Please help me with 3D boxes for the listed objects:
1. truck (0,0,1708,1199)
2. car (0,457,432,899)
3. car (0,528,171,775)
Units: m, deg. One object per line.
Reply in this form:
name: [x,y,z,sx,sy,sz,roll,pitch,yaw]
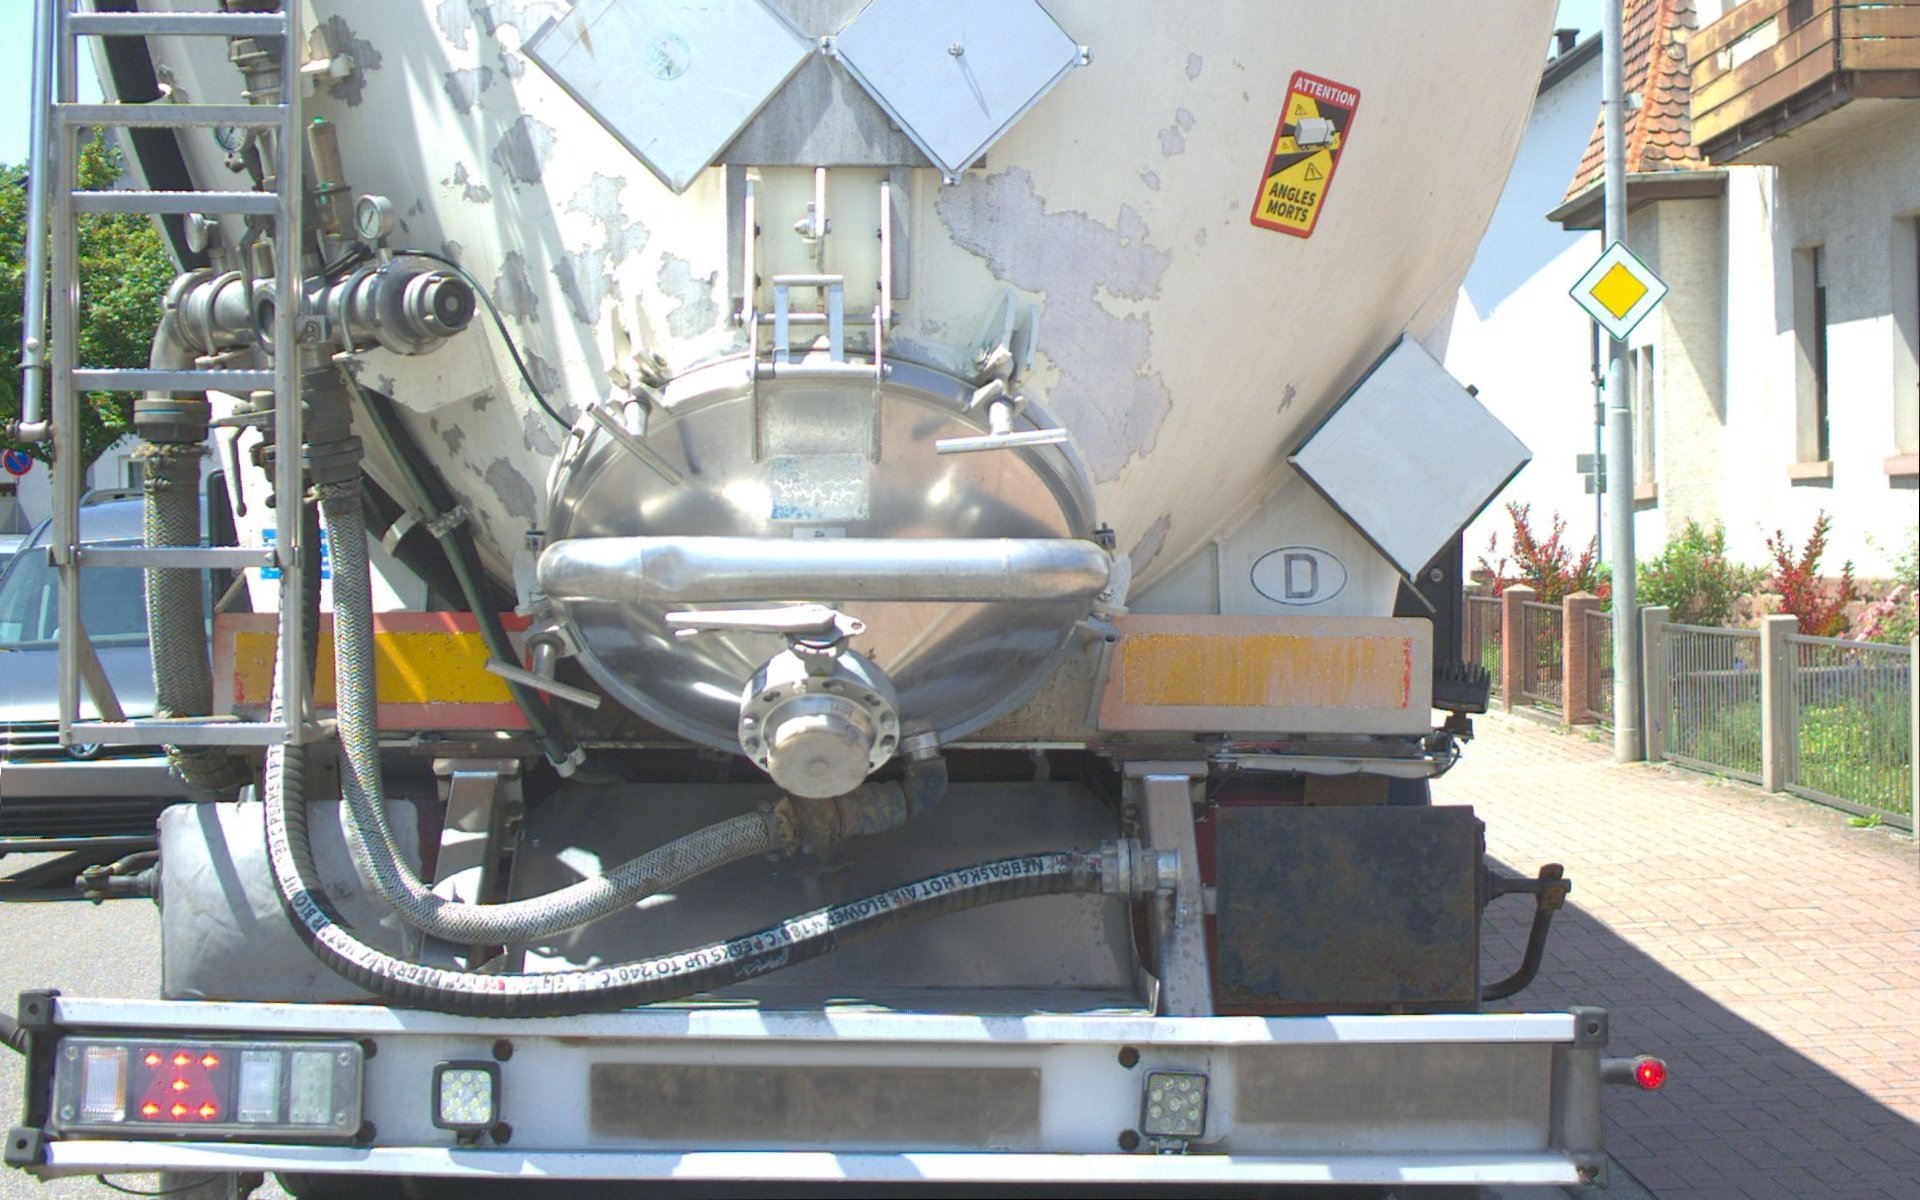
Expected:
truck: [-0.303,-0.718,9.620,2.641,4.002,9.562,0,1,0]
car: [-3.785,0.295,16.959,1.655,1.848,4.464,-2,1,-1]
car: [-6.737,0.288,23.887,1.697,1.575,3.838,0,1,-1]
